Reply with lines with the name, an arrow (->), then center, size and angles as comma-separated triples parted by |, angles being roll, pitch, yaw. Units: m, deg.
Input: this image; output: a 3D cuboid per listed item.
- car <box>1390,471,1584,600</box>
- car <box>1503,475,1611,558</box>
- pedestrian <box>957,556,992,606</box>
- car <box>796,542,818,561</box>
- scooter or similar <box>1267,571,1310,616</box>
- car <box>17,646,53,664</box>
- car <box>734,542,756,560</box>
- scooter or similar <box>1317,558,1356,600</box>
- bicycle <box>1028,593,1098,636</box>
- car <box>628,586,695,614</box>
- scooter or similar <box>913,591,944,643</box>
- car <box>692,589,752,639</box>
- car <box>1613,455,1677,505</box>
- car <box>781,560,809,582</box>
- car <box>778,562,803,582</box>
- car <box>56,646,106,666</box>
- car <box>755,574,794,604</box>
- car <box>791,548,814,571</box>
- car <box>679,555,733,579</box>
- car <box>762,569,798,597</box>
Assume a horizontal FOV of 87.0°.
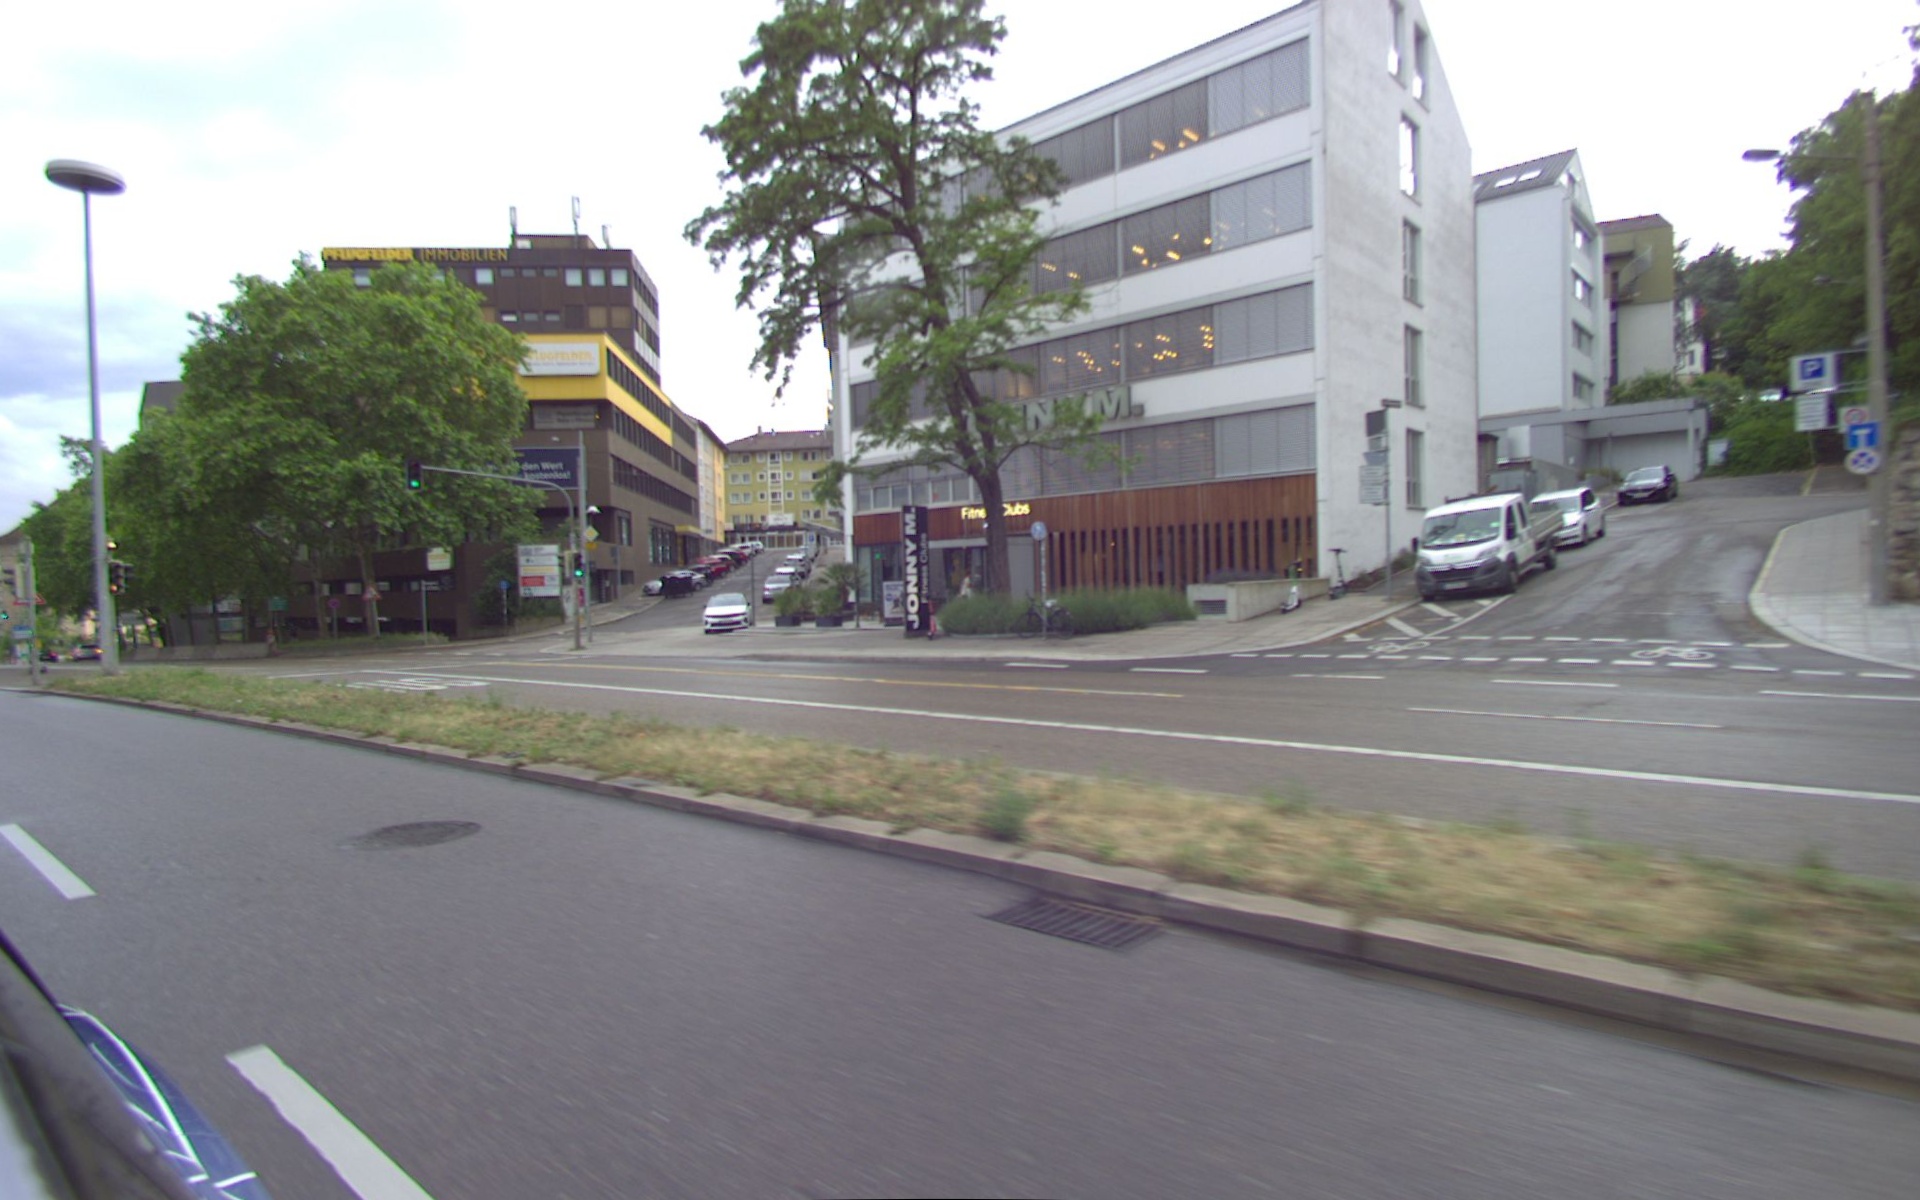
car -> 13.457, -1.732, 25.534 | 2.514, 2.291, 6.834 | -7, 4, 42
car -> 18.543, -2.608, 31.350 | 2.000, 1.793, 3.950 | -5, 8, 43
pedestrian -> 0.503, -0.651, 34.428 | 0.841, 1.653, 0.760 | -3, -1, 41
car -> -15.793, -5.000, 104.410 | 1.969, 1.829, 4.007 | -2, 4, -6
scooter or similar -> 8.028, -0.167, 24.682 | 0.443, 0.928, 1.455 | -3, 4, 40
car -> -81.770, 4.868, 89.490 | 4.165, 1.530, 1.737 | -3, -1, 39
car -> -22.281, -5.113, 104.925 | 1.792, 1.696, 4.007 | -2, 4, -6
scooter or similar -> 9.840, -0.551, 26.405 | 0.443, 0.928, 1.455 | -3, 4, 40
bicycle -> 2.515, 0.366, 24.828 | 1.758, 0.999, 0.452 | -2, 1, 42
car -> -19.612, -0.006, 66.624 | 3.939, 1.696, 1.823 | -2, 1, -5
scooter or similar -> -0.836, 0.449, 27.328 | 0.366, 1.256, 1.749 | -2, 3, 12
car -> -9.414, 0.504, 40.435 | 1.968, 1.665, 4.854 | -4, 3, -10
car -> 28.910, -5.073, 42.684 | 1.811, 1.695, 3.766 | -3, 6, 40
car -> -12.714, -2.259, 78.248 | 1.969, 1.586, 4.496 | -4, 2, -7
car -> -14.726, -2.432, 88.185 | 1.969, 1.586, 4.496 | -4, 2, -7
car -> -70.651, 4.485, 81.314 | 4.872, 1.458, 1.976 | -3, -1, 36
car -> -10.684, -0.659, 58.555 | 1.969, 1.476, 4.496 | -4, 2, -7
car -> -15.317, -3.987, 98.522 | 1.969, 2.028, 4.007 | -2, 4, -6
car -> -20.195, -2.621, 80.643 | 3.939, 1.696, 1.823 | -2, 4, -5
car -> -11.354, -1.093, 64.215 | 1.969, 1.586, 4.496 | -4, 2, -7
